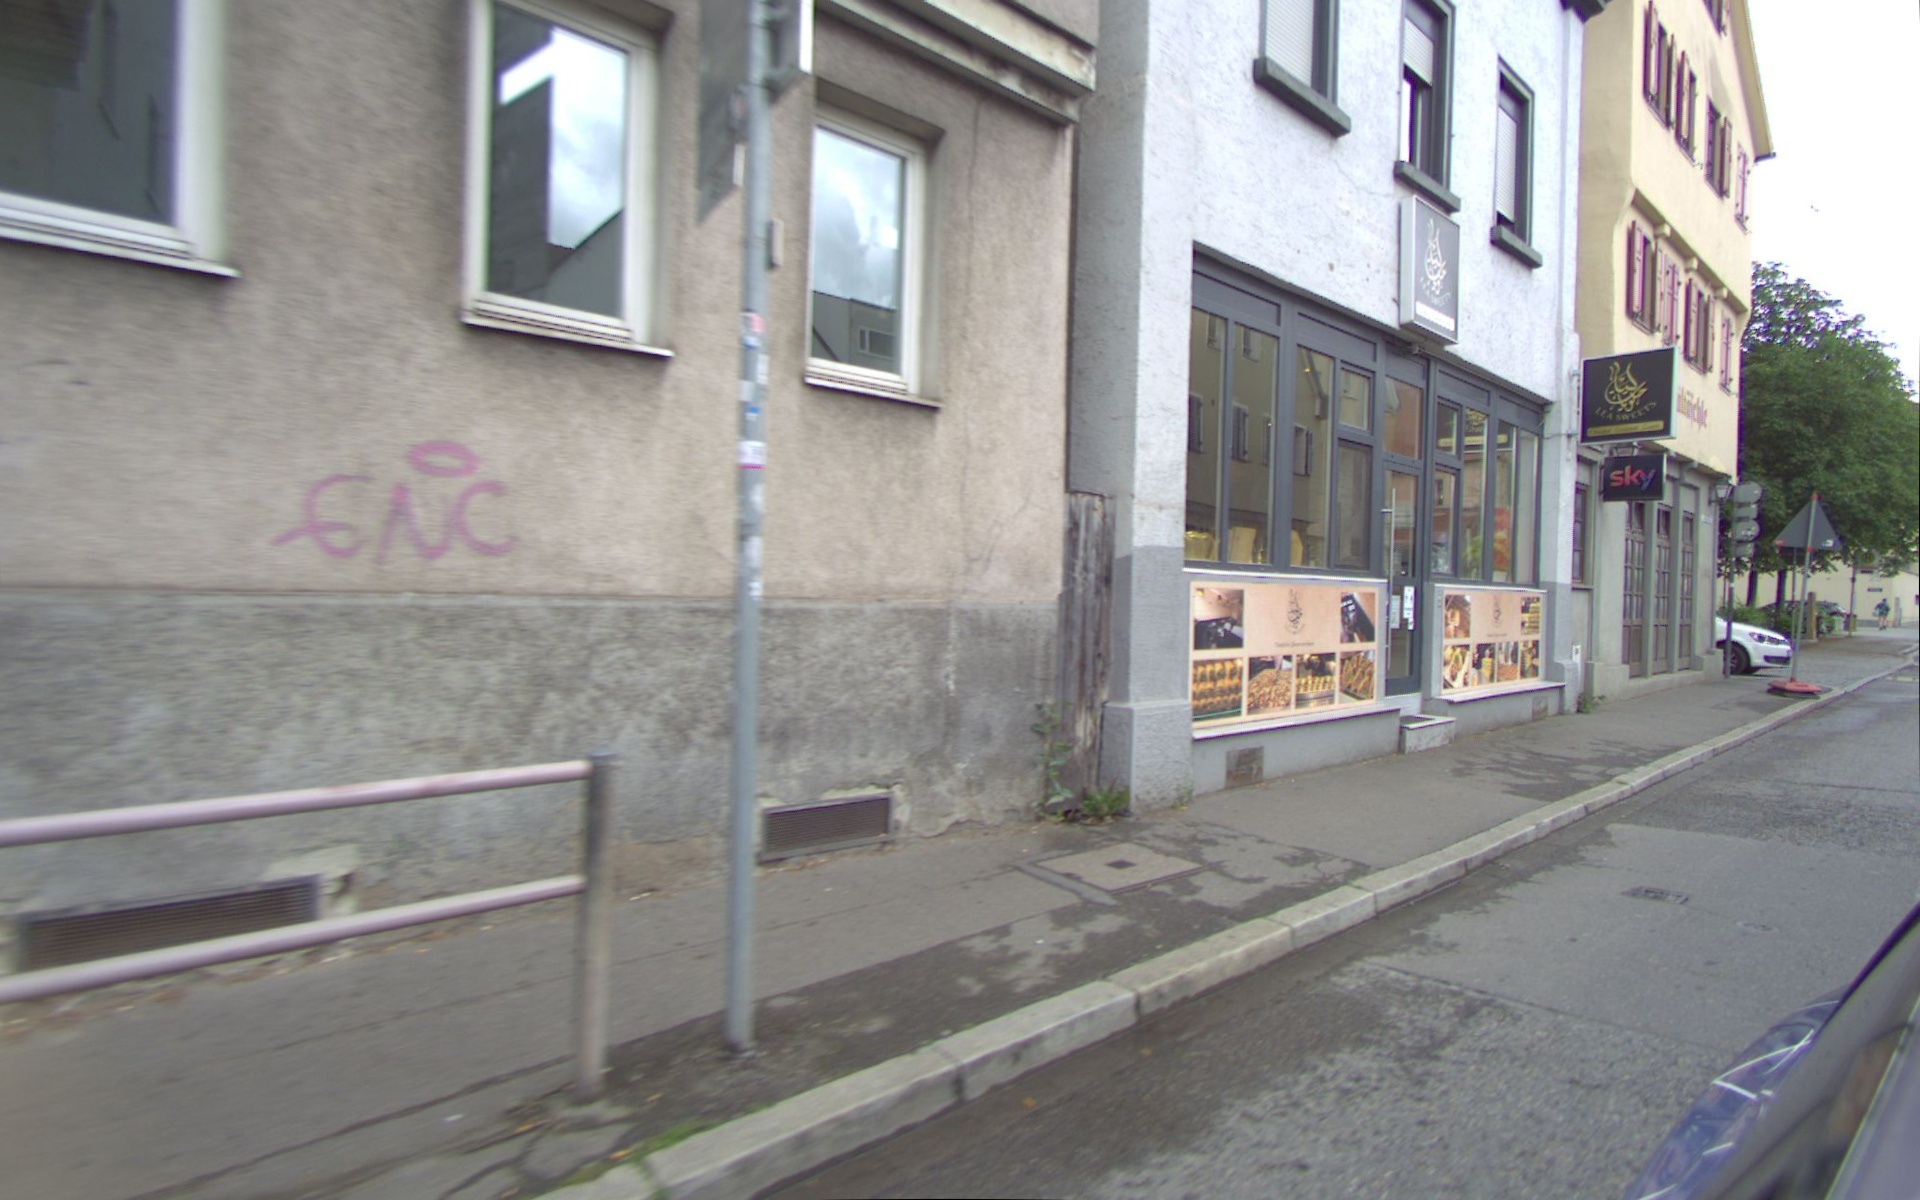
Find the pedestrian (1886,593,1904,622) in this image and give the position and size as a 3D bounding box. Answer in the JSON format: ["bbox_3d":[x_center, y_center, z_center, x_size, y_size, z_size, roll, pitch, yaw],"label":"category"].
[{"bbox_3d":[48.032,0.370,51.974,0.759,1.461,0.598,0,2,-44],"label":"pedestrian"}]

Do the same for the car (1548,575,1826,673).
[{"bbox_3d":[15.291,0.397,21.485,1.966,1.809,4.460,-1,2,-42],"label":"car"}]

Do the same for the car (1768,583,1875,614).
[{"bbox_3d":[44.784,-0.109,52.663,1.964,1.482,3.996,-1,1,-39],"label":"car"}]
